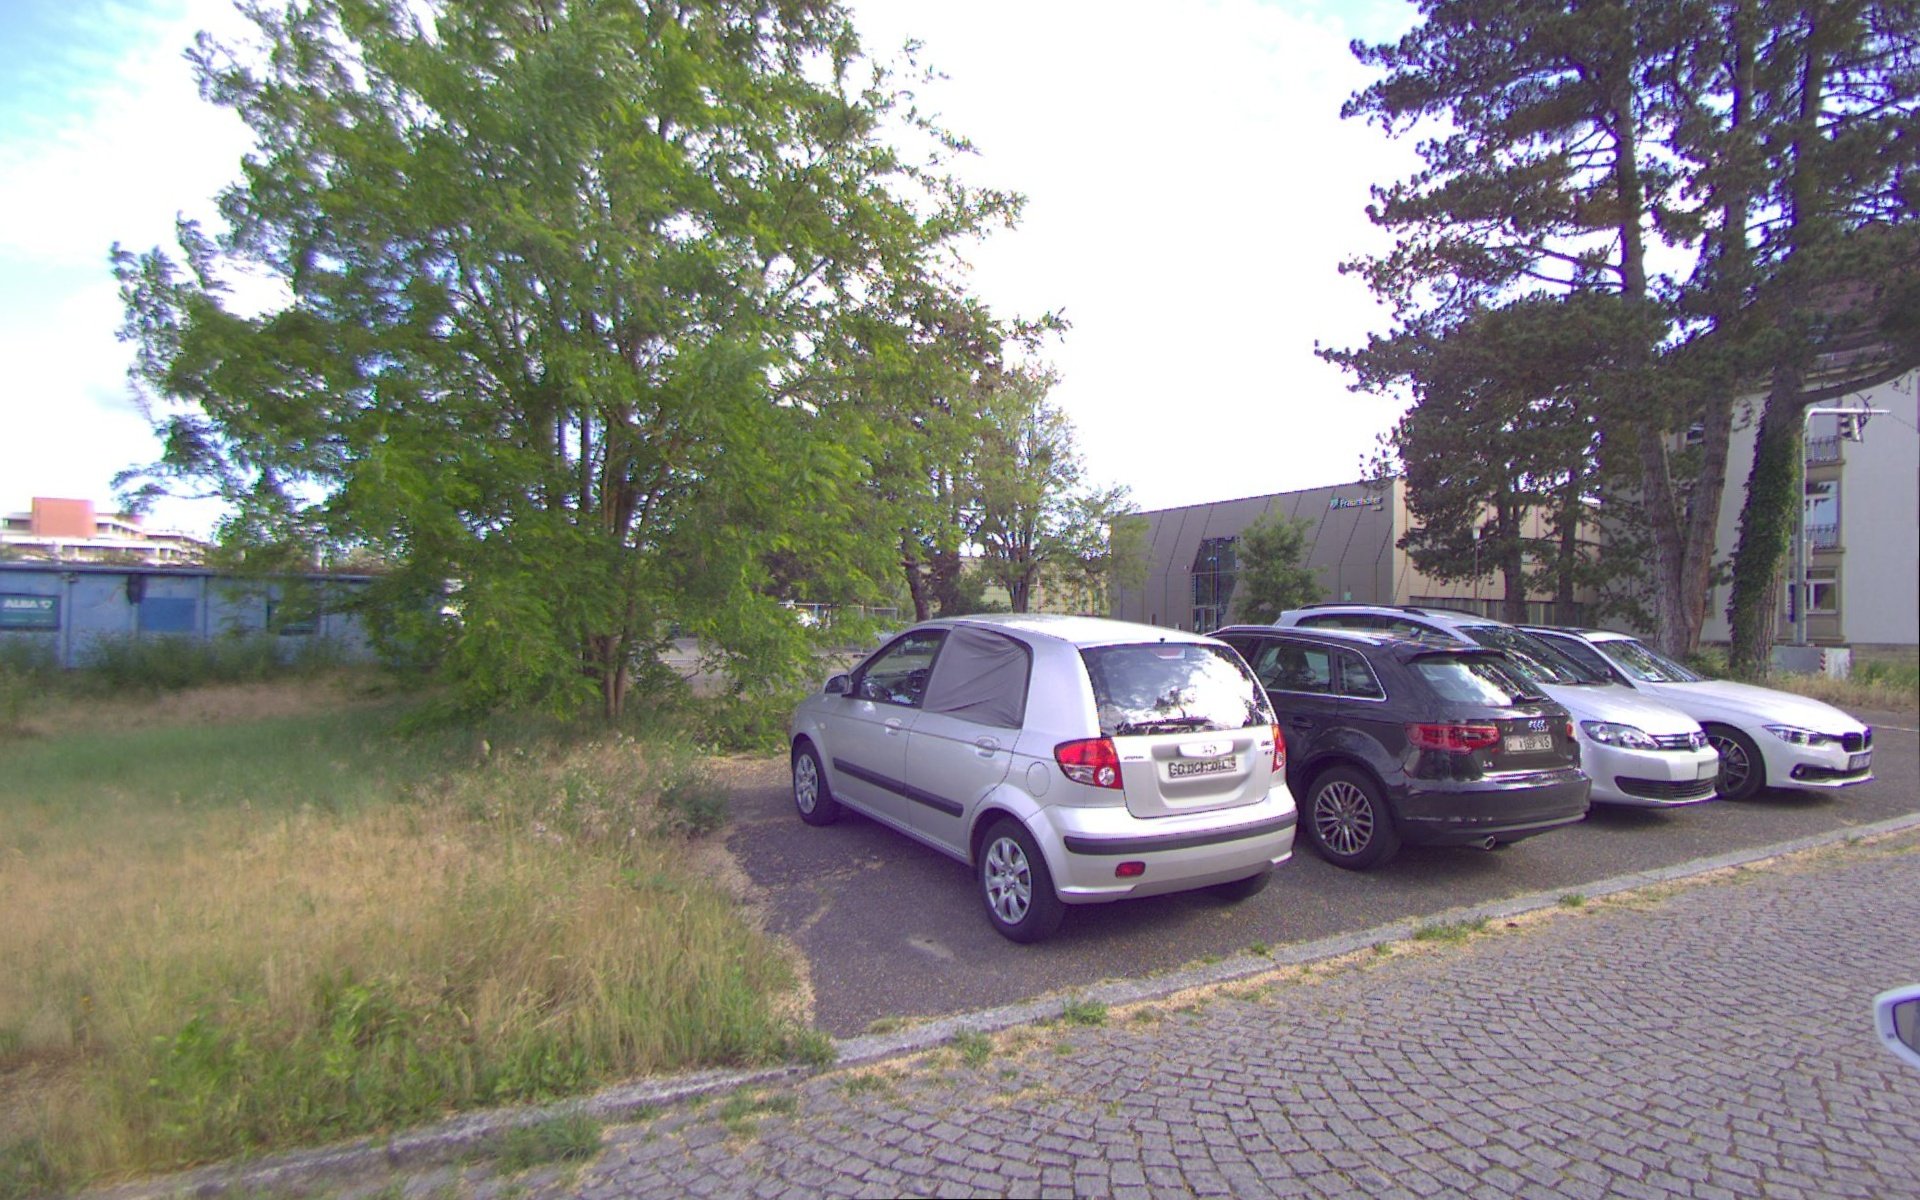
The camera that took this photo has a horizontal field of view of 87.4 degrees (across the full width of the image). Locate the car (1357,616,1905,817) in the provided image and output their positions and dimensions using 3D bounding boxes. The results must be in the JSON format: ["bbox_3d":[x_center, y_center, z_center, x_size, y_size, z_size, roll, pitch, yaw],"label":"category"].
[{"bbox_3d":[6.706,1.005,10.610,1.810,1.461,4.452,1,1,-32],"label":"car"}]

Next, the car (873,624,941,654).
[{"bbox_3d":[-2.583,1.843,47.864,1.575,1.355,3.708,1,-2,-34],"label":"car"}]

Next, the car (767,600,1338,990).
[{"bbox_3d":[0.246,0.826,6.098,1.629,1.495,3.557,1,1,-31],"label":"car"}]

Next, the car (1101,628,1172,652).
[{"bbox_3d":[10.854,2.465,61.709,4.077,1.433,1.752,1,-1,-27],"label":"car"}]

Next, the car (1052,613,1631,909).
[{"bbox_3d":[2.477,0.906,7.474,1.675,1.427,3.818,1,1,-29],"label":"car"}]

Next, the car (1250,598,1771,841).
[{"bbox_3d":[4.729,0.858,9.191,1.716,1.629,3.810,1,1,-32],"label":"car"}]

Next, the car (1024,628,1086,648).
[{"bbox_3d":[6.601,2.631,69.750,4.142,1.289,1.600,1,-1,-27],"label":"car"}]
